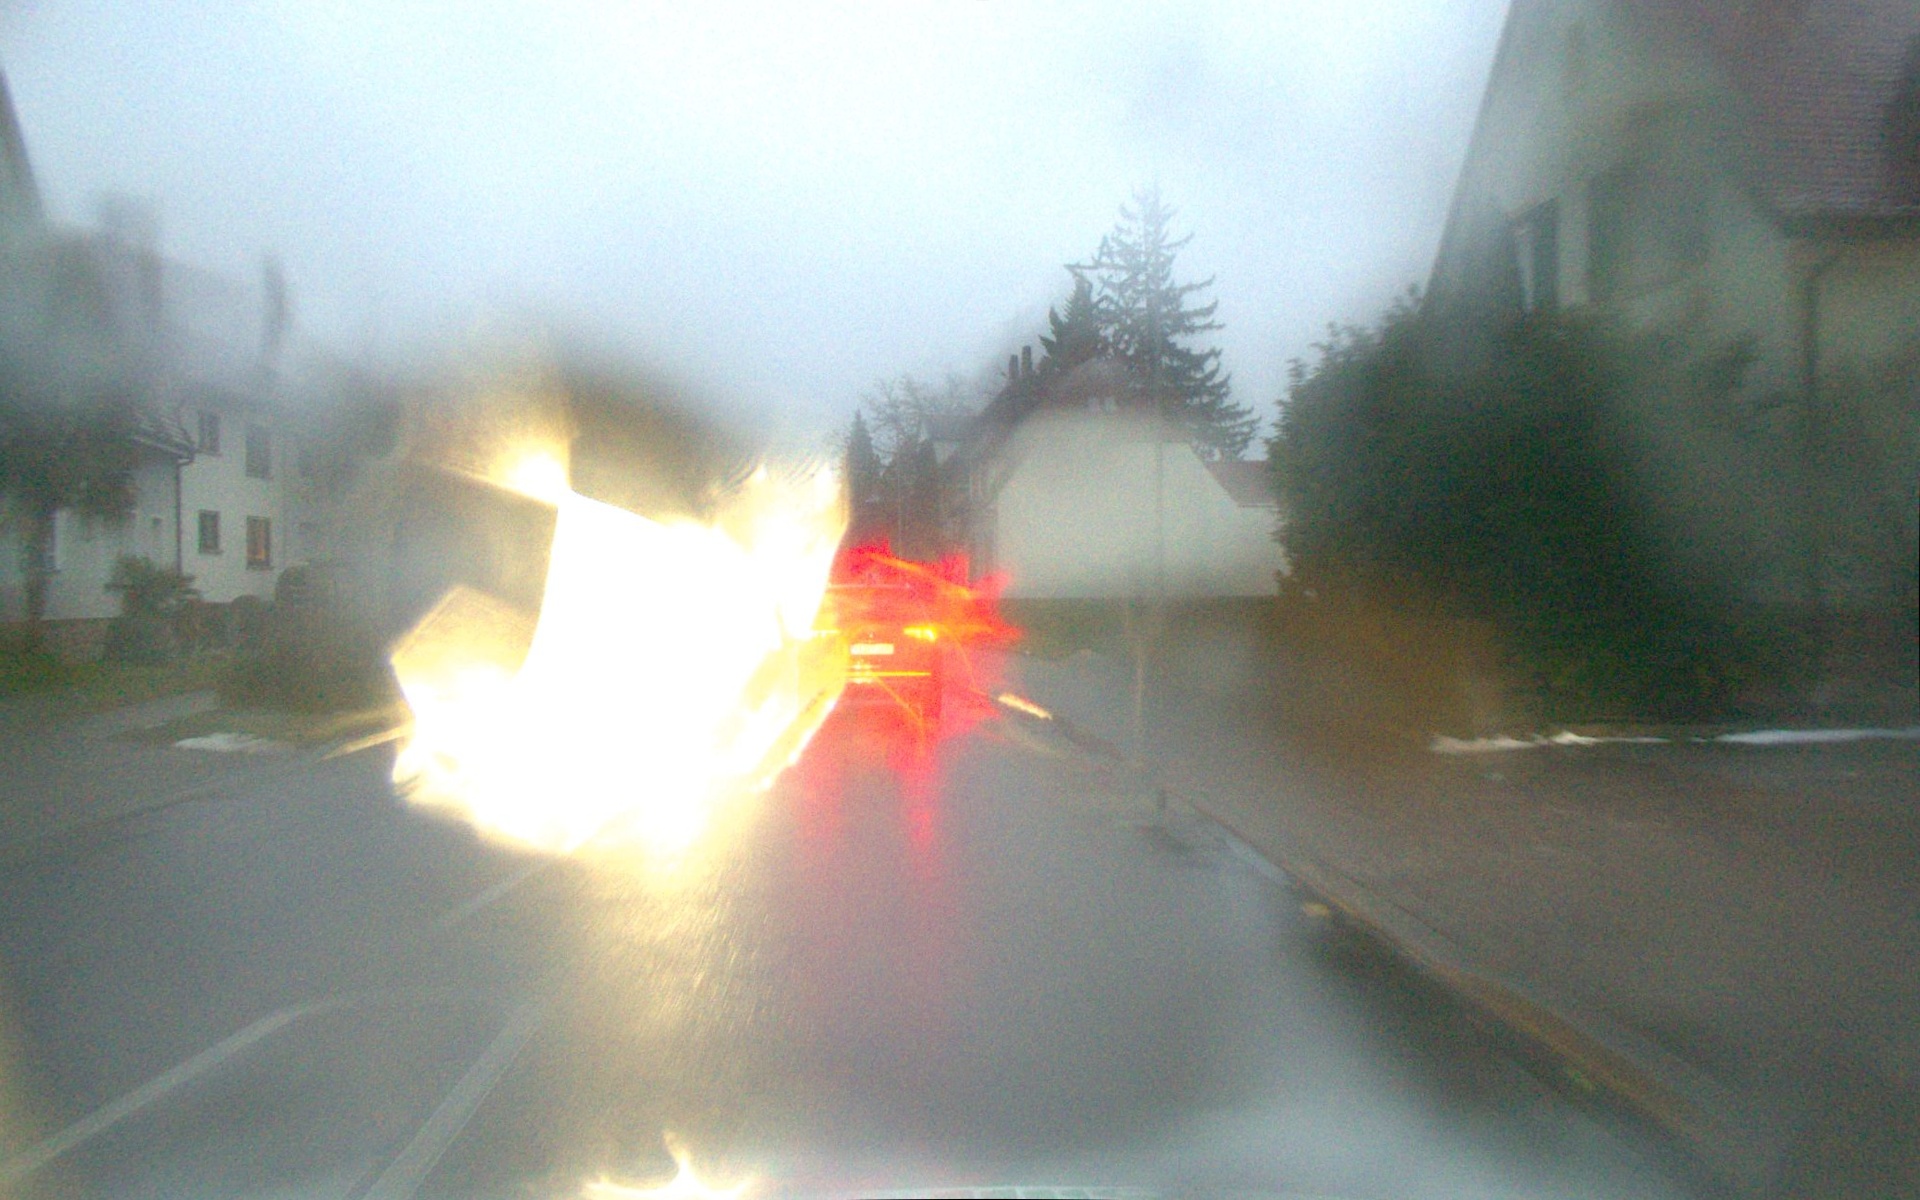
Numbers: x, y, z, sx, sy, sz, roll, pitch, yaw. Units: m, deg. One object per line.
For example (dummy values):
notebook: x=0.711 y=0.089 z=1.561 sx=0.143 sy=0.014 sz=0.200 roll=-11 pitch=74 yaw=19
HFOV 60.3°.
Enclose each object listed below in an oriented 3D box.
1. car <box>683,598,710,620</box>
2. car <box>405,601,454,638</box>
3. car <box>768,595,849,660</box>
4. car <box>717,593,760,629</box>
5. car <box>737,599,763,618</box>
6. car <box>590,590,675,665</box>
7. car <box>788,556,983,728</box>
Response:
car: x=-19.986 y=0.664 z=125.497 sx=1.876 sy=1.549 sz=3.995 roll=-1 pitch=2 yaw=-7
car: x=-21.473 y=0.777 z=66.906 sx=1.751 sy=1.417 sz=3.977 roll=1 pitch=-1 yaw=-19
car: x=-4.196 y=0.709 z=45.319 sx=1.824 sy=1.676 sz=3.990 roll=0 pitch=1 yaw=-11
car: x=-12.971 y=0.643 z=96.648 sx=2.268 sy=1.972 sz=5.005 roll=-1 pitch=0 yaw=-10
car: x=-16.162 y=0.661 z=127.371 sx=1.807 sy=1.355 sz=3.932 roll=-1 pitch=0 yaw=-6
car: x=-7.611 y=0.604 z=38.582 sx=1.791 sy=1.581 sz=3.989 roll=-2 pitch=0 yaw=-11
car: x=-1.073 y=0.505 z=21.904 sx=2.264 sy=1.972 sz=5.013 roll=-1 pitch=0 yaw=-5
